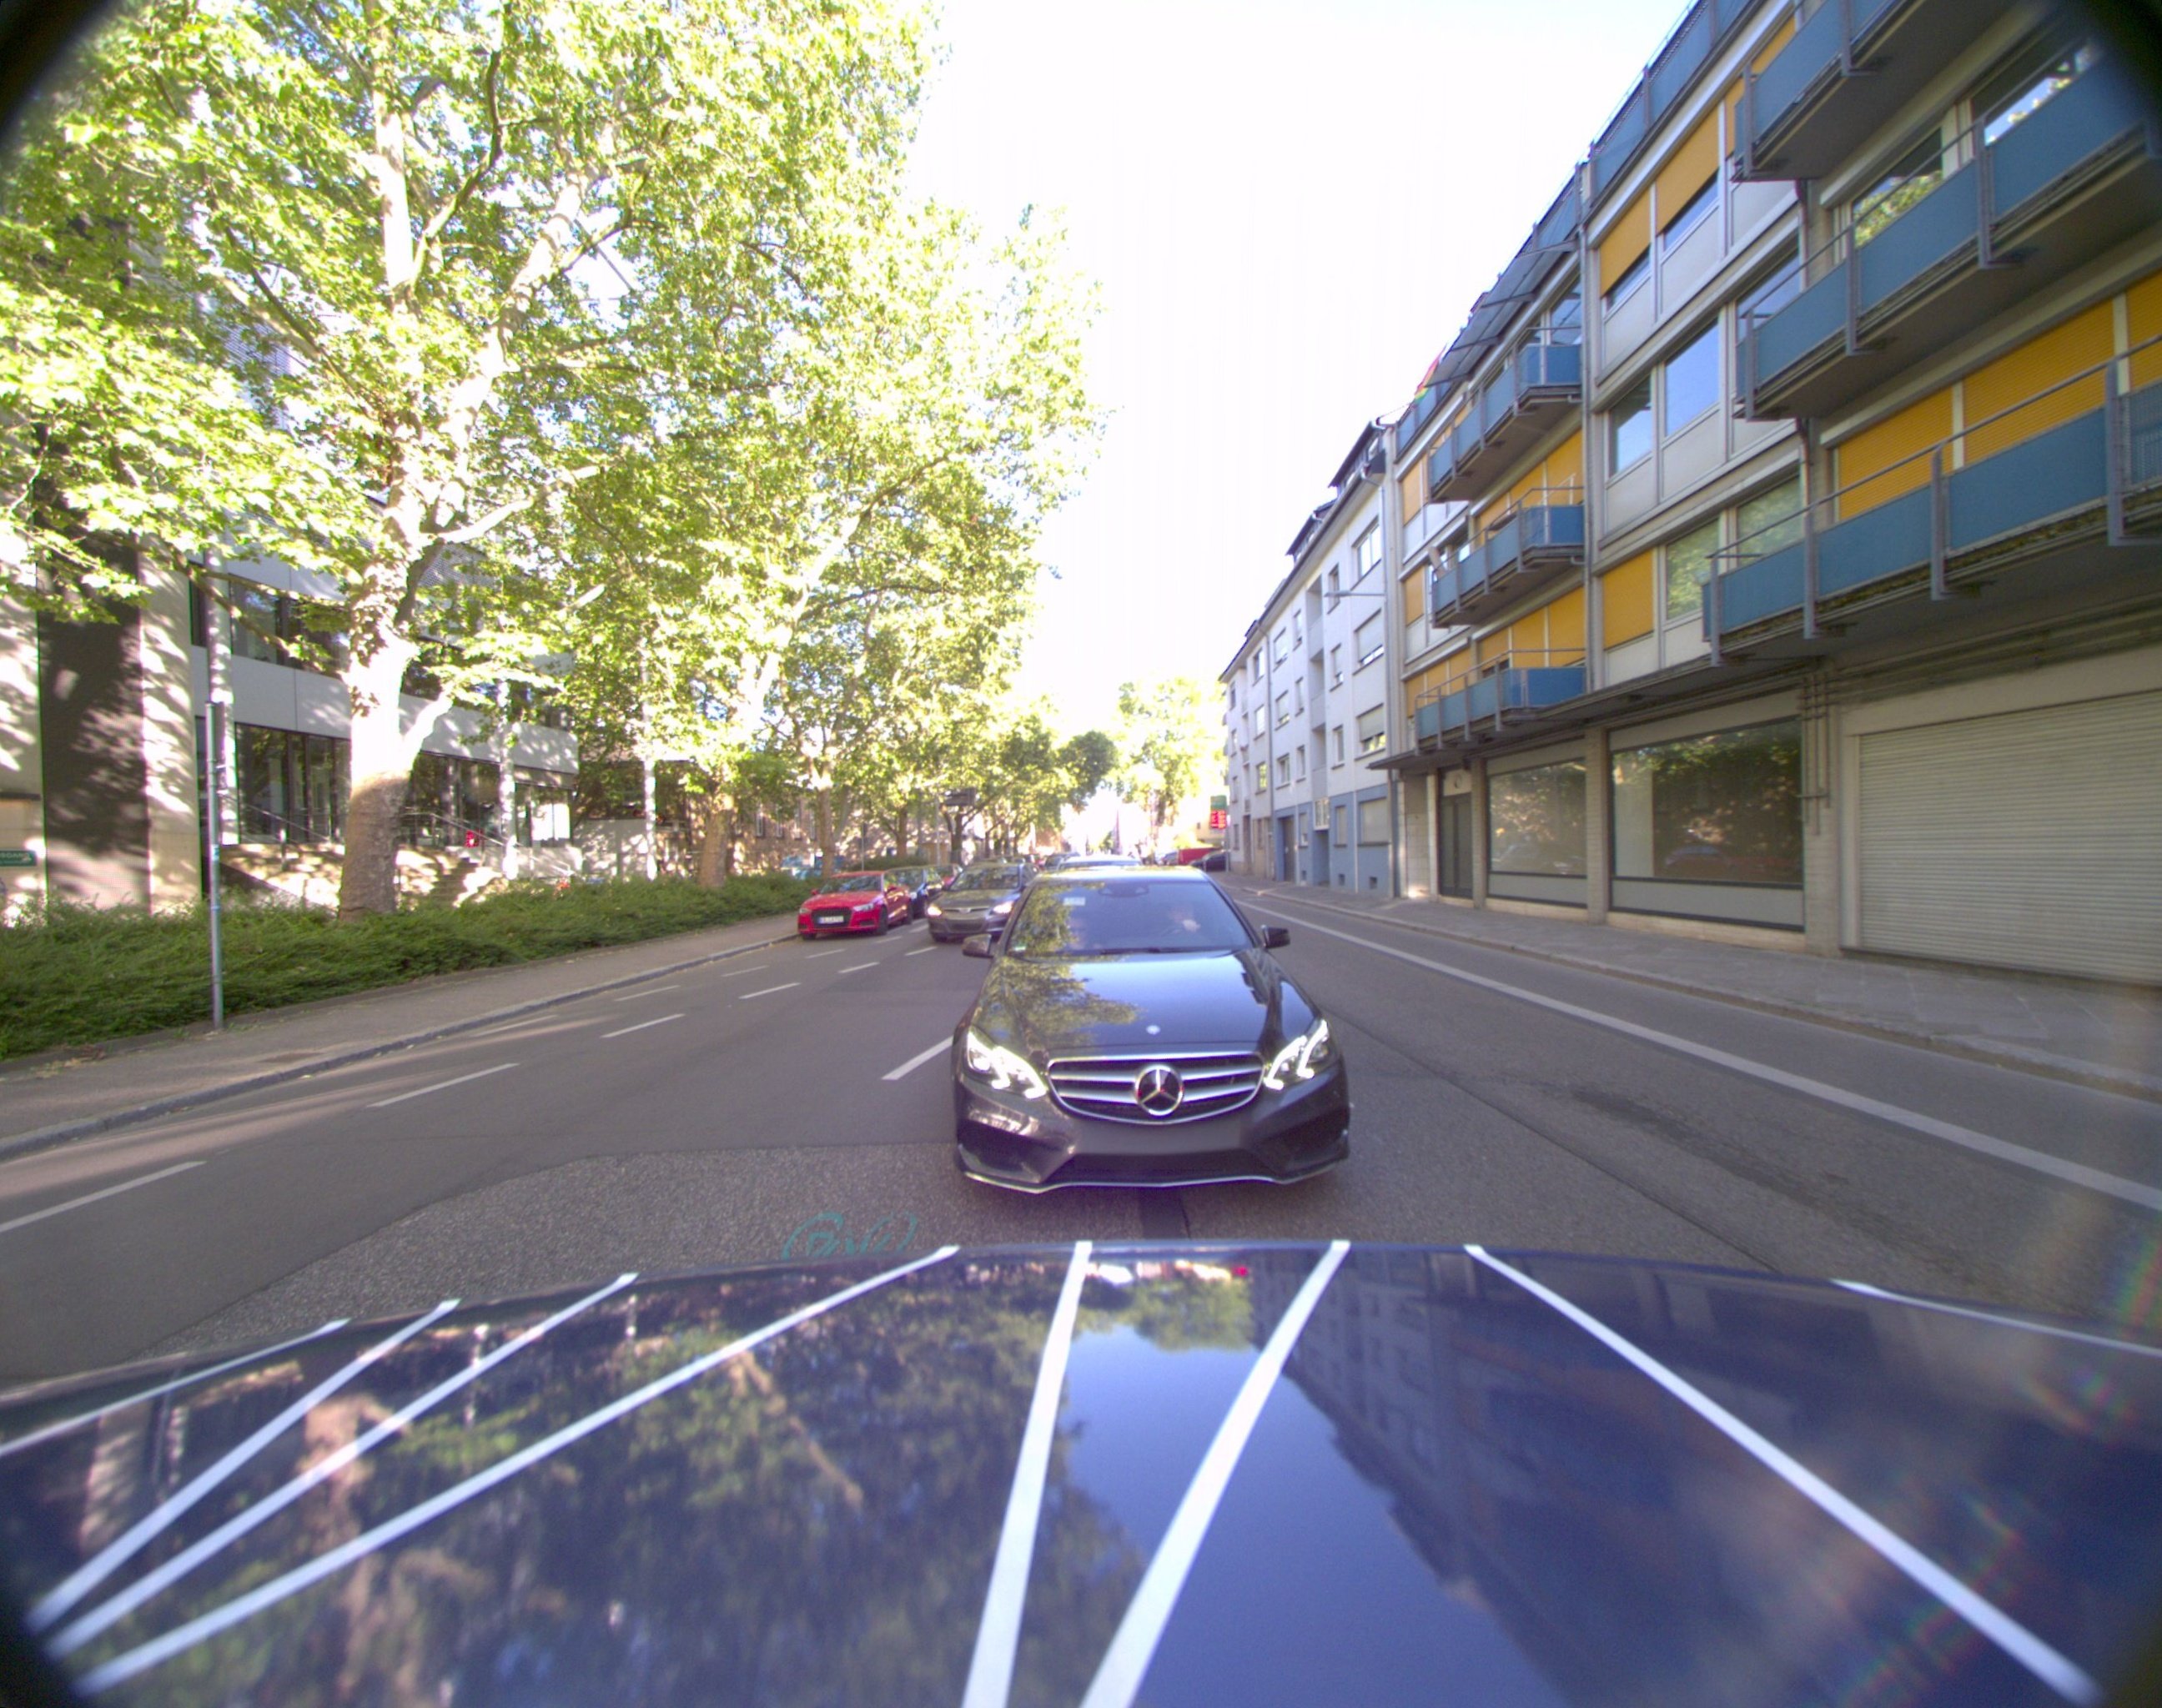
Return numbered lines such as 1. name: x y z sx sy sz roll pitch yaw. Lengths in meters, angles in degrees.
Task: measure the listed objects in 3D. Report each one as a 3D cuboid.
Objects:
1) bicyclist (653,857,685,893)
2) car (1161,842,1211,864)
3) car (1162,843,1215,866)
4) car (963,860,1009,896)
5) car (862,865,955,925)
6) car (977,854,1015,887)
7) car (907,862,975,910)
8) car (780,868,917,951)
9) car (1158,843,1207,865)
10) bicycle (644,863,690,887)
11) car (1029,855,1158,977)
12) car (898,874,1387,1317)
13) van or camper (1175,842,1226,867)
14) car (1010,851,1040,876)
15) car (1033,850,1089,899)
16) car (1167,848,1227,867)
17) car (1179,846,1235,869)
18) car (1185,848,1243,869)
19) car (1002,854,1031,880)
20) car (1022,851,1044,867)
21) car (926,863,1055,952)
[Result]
1. bicyclist: -19.133 0.953 35.257 1.036 1.610 0.698 -2 1 11
2. car: 11.029 -0.095 80.185 4.990 2.181 2.000 -2 1 1
3. car: 10.909 0.032 77.334 4.990 2.181 2.000 -2 1 1
4. car: -4.627 1.132 37.457 1.741 1.622 4.091 -2 0 0
5. car: -5.018 1.136 22.651 1.741 1.444 4.091 -4 0 0
6. car: -4.682 0.897 42.390 1.634 1.677 3.907 -2 0 0
7. car: -5.016 1.111 27.683 1.681 1.484 3.918 -4 0 0
8. car: -5.208 1.176 17.656 1.830 1.519 4.142 -4 0 0
9. car: 11.033 -0.002 82.817 4.990 2.181 2.000 -2 1 1
10. bicycle: -19.206 0.966 35.274 1.796 1.009 0.735 -2 1 12
11. car: 0.199 0.848 12.559 1.646 1.520 4.619 -4 0 1
12. car: 0.222 0.933 4.707 1.740 1.448 3.864 -2 0 0
13. van or camper: 10.055 0.029 64.194 3.997 2.002 2.000 -2 1 0
14. car: -4.350 0.726 59.843 1.992 1.795 4.376 -2 0 0
15. car: -0.734 0.759 30.848 1.784 1.760 4.385 -4 0 3
16. car: 10.156 0.290 66.696 4.990 1.486 2.000 -2 0 1
17. car: 10.133 0.275 61.287 4.146 1.681 2.000 -2 0 1
18. car: 10.310 0.330 58.956 4.146 1.486 2.000 -2 0 1
19. car: -4.609 0.906 54.747 1.741 1.785 3.895 -2 0 0
20. car: -4.388 0.441 70.440 1.741 1.469 4.091 -2 0 0
21. car: -1.699 0.993 15.659 1.647 1.473 3.978 -2 0 8
